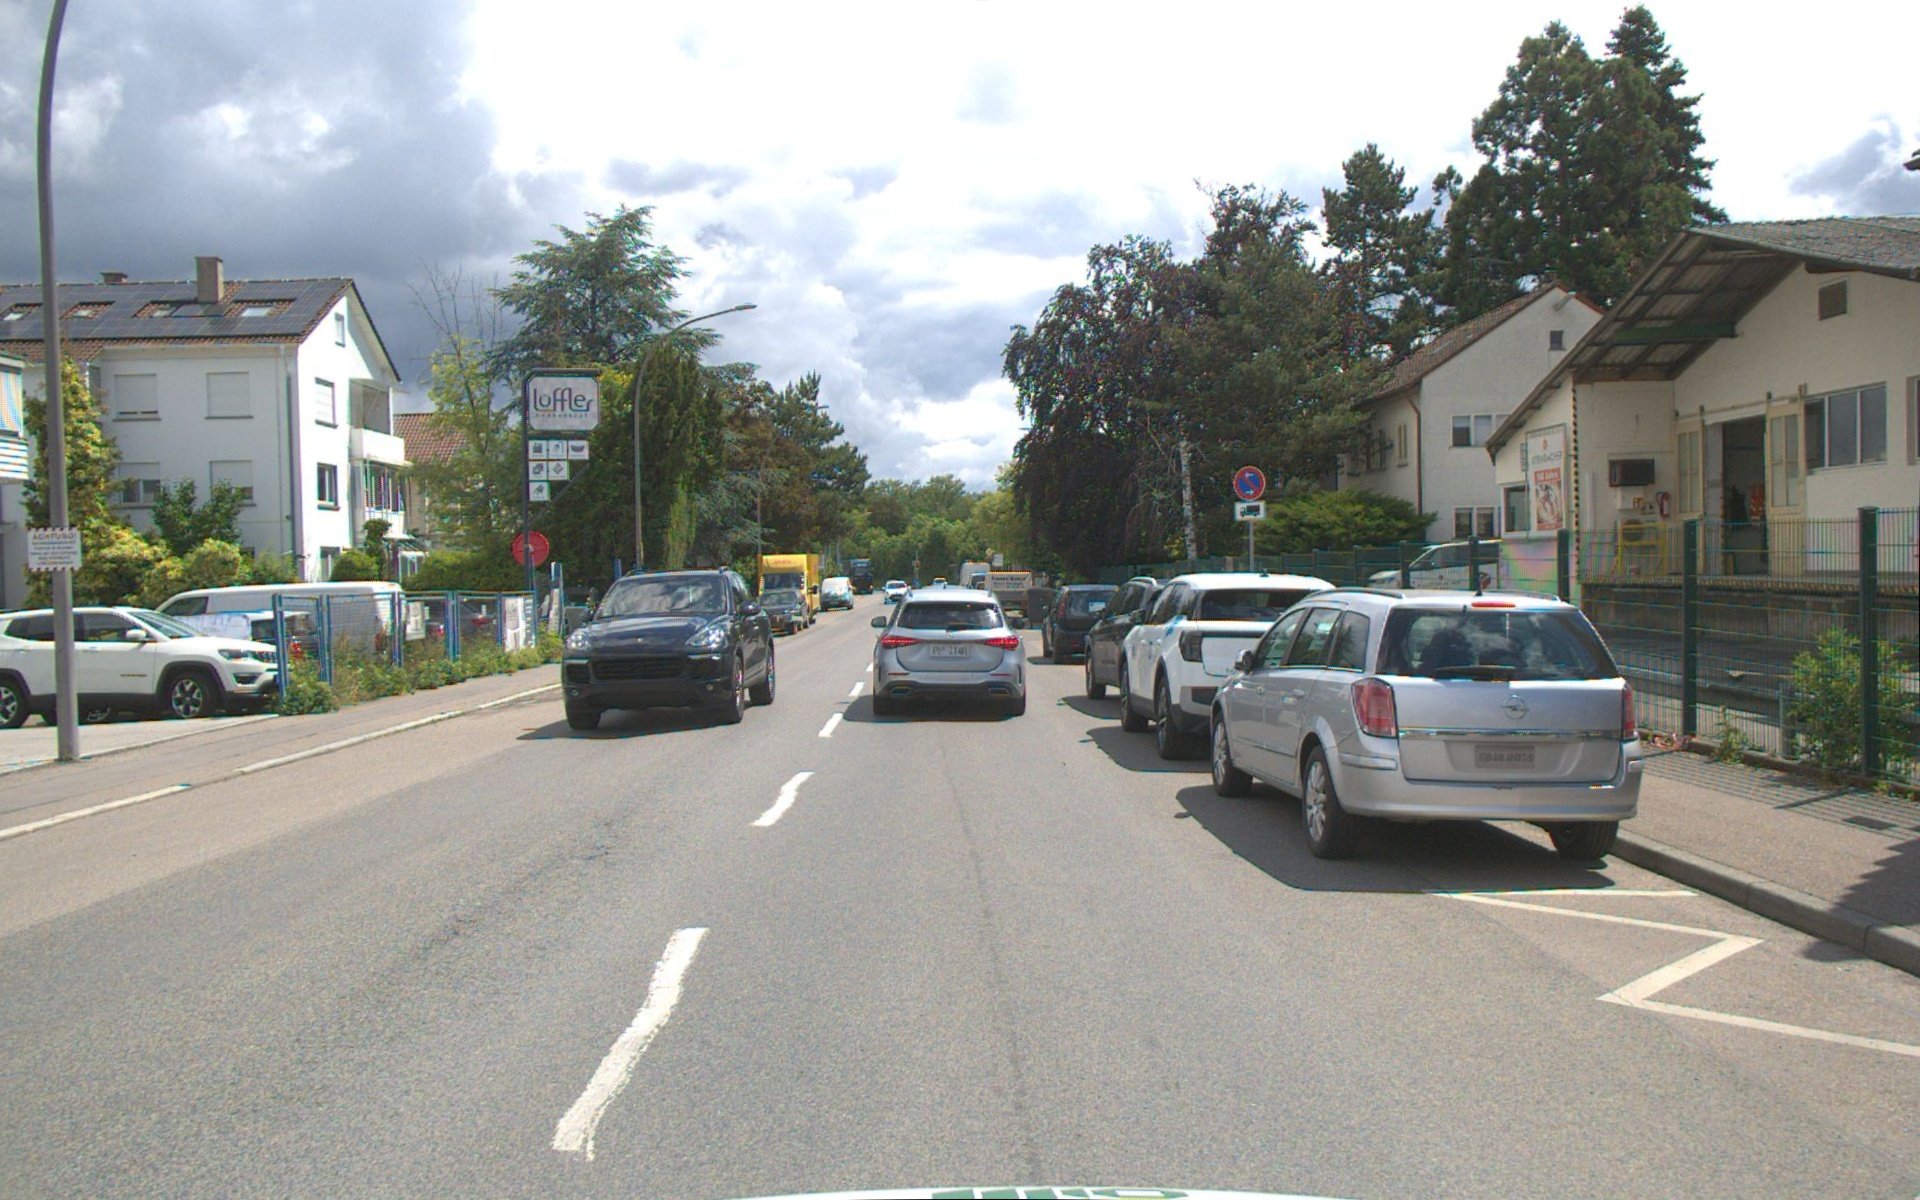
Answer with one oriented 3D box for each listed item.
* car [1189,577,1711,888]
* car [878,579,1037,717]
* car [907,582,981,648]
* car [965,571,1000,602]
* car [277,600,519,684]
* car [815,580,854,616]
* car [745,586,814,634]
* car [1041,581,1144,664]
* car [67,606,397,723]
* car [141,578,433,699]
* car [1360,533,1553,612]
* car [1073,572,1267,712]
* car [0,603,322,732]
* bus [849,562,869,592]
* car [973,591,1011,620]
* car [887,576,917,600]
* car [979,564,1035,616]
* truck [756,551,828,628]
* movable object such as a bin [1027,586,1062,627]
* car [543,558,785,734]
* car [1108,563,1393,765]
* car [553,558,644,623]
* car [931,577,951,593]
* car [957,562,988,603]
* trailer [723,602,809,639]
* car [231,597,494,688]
[{"bbox_3d":[2.770,0.633,10.472,1.756,1.475,4.361,-3,1,-3],"label":"car"},{"bbox_3d":[-0.124,0.525,20.422,1.749,1.510,4.314,0,0,-3],"label":"car"},{"bbox_3d":[-0.458,0.341,42.431,1.720,1.585,3.998,-1,1,-3],"label":"car"},{"bbox_3d":[1.257,-0.768,94.487,1.749,1.745,4.314,0,0,-3],"label":"car"},{"bbox_3d":[-11.279,0.860,33.391,4.193,1.511,1.990,-2,-3,-2],"label":"car"},{"bbox_3d":[-7.217,-0.158,95.447,1.895,1.952,4.362,-2,1,-1],"label":"car"},{"bbox_3d":[-6.329,0.318,58.280,2.033,1.503,4.455,-3,1,-2],"label":"car"},{"bbox_3d":[2.555,0.399,32.735,1.655,1.476,3.848,-2,1,-1],"label":"car"},{"bbox_3d":[-11.132,1.002,25.520,4.193,1.594,1.990,-2,-3,-2],"label":"car"},{"bbox_3d":[-11.484,0.673,28.444,4.193,1.868,1.990,-2,-3,-2],"label":"car"},{"bbox_3d":[14.234,-0.789,47.623,4.913,1.962,2.001,-3,0,2],"label":"car"},{"bbox_3d":[2.598,0.474,21.358,1.656,1.579,4.082,-2,1,-5],"label":"car"},{"bbox_3d":[-11.416,0.958,23.113,4.192,1.594,1.991,-2,-3,-1],"label":"car"},{"bbox_3d":[-11.817,-2.663,193.237,1.955,3.423,6.973,1,1,-6],"label":"bus"},{"bbox_3d":[1.715,0.268,89.285,1.749,1.510,4.314,0,0,-3],"label":"car"},{"bbox_3d":[-3.927,-0.814,111.850,1.895,1.518,4.362,-2,1,-1],"label":"car"},{"bbox_3d":[1.911,-0.412,69.130,2.100,2.018,5.260,-2,1,-1],"label":"car"},{"bbox_3d":[-6.693,-0.452,66.565,2.032,2.863,7.078,-2,1,0],"label":"truck"},{"bbox_3d":[2.737,0.199,53.630,1.062,1.293,1.380,1,1,-1],"label":"movable object such as a bin"},{"bbox_3d":[-3.345,0.448,19.621,1.953,1.763,4.549,-2,1,0],"label":"car"},{"bbox_3d":[2.596,0.495,15.870,1.756,1.579,4.572,-3,1,-2],"label":"car"},{"bbox_3d":[-10.209,-0.297,46.940,1.955,1.686,3.996,-2,1,-5],"label":"car"},{"bbox_3d":[-2.016,-1.599,175.056,1.721,1.585,3.996,-1,1,-5],"label":"car"},{"bbox_3d":[0.785,-1.105,106.690,1.749,2.562,4.314,0,0,-3],"label":"car"},{"bbox_3d":[-5.975,0.609,51.520,2.183,0.941,5.946,-1,1,-2],"label":"trailer"},{"bbox_3d":[-11.147,0.812,31.080,4.193,1.511,1.990,-2,-3,-2],"label":"car"}]
